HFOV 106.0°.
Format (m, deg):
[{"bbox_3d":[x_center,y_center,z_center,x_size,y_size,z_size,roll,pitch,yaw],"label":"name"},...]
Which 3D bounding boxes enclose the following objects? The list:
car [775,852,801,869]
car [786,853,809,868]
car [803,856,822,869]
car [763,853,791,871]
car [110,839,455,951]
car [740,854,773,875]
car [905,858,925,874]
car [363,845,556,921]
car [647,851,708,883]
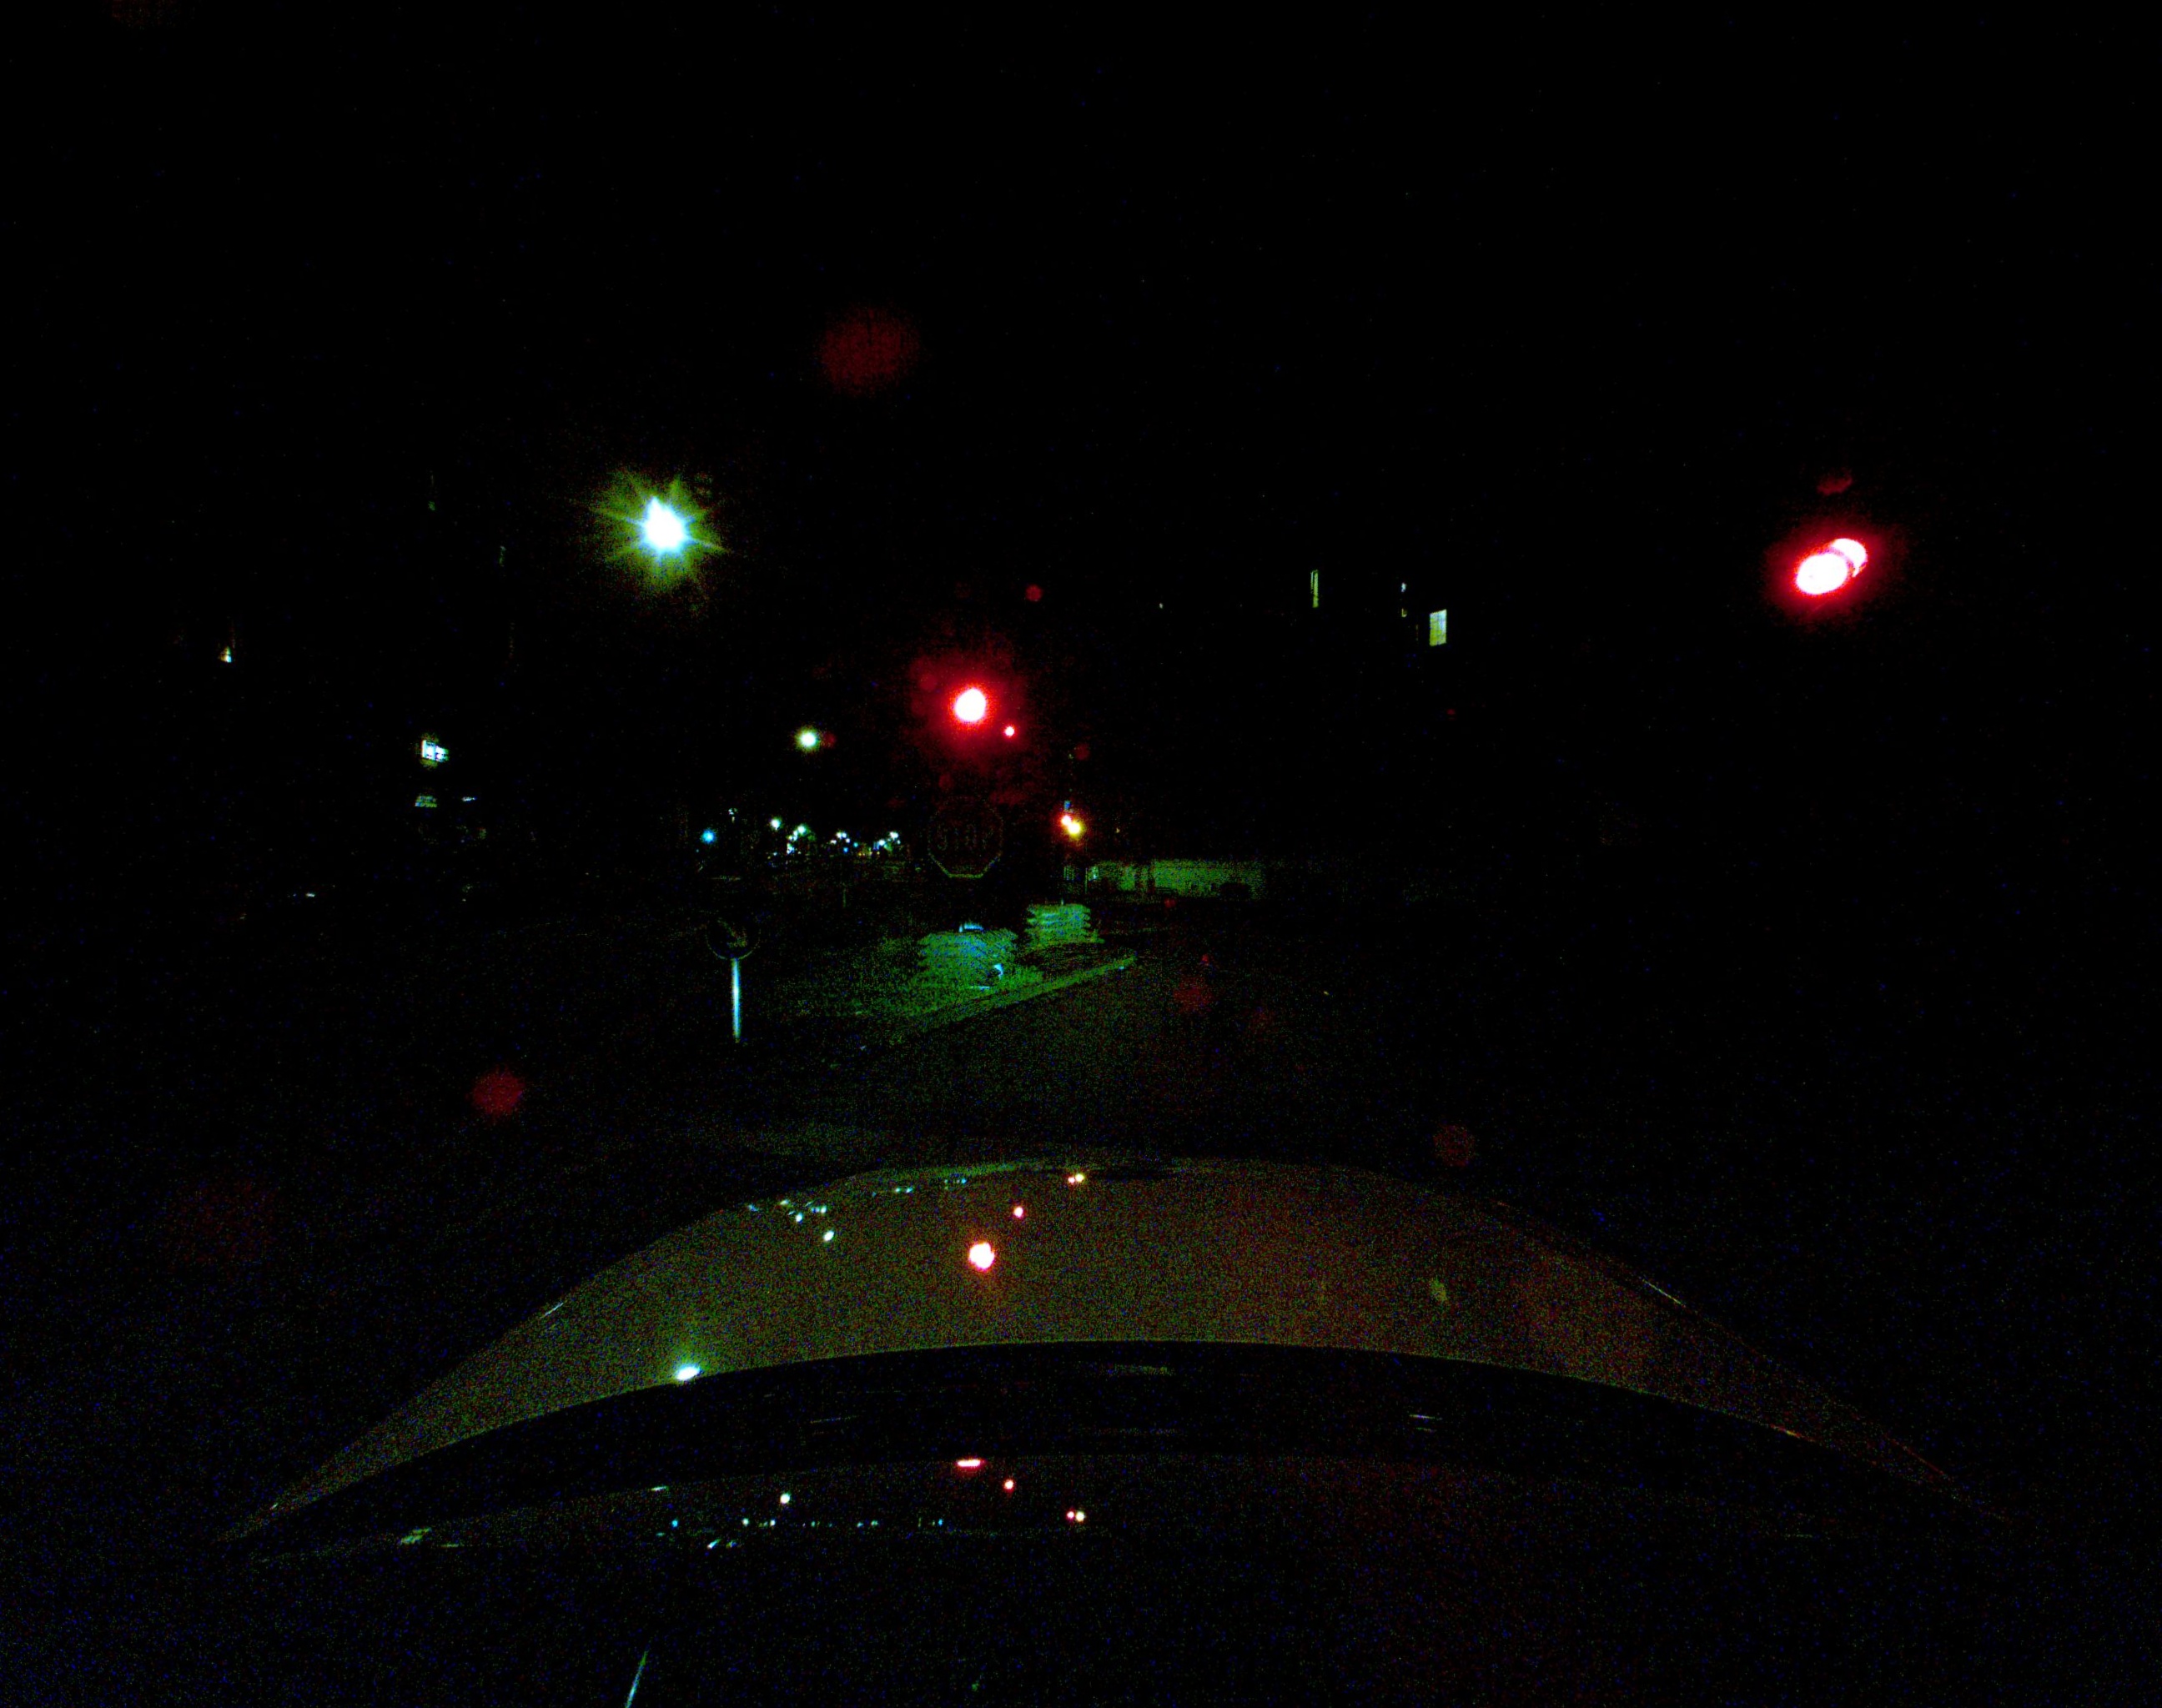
[{"bbox_3d":[-26.392,0.593,73.431,1.653,1.431,3.982,1,0,-13],"label":"car"},{"bbox_3d":[-27.786,0.651,79.915,1.653,1.431,3.982,1,0,-13],"label":"car"},{"bbox_3d":[-30.735,0.938,93.268,1.653,1.431,3.982,1,0,-13],"label":"car"},{"bbox_3d":[-25.083,0.674,67.313,1.653,1.431,3.982,1,0,-13],"label":"car"},{"bbox_3d":[-12.581,0.569,13.350,1.901,1.471,4.432,3,0,-13],"label":"car"},{"bbox_3d":[-23.658,0.752,59.443,1.653,1.431,3.982,1,0,-13],"label":"car"},{"bbox_3d":[-14.744,1.054,72.348,1.652,1.431,3.984,1,0,-12],"label":"car"},{"bbox_3d":[-13.616,0.606,18.215,1.806,1.481,4.302,1,-1,-14],"label":"car"},{"bbox_3d":[-18.903,0.603,38.323,1.653,1.431,3.982,1,0,-13],"label":"car"}]
